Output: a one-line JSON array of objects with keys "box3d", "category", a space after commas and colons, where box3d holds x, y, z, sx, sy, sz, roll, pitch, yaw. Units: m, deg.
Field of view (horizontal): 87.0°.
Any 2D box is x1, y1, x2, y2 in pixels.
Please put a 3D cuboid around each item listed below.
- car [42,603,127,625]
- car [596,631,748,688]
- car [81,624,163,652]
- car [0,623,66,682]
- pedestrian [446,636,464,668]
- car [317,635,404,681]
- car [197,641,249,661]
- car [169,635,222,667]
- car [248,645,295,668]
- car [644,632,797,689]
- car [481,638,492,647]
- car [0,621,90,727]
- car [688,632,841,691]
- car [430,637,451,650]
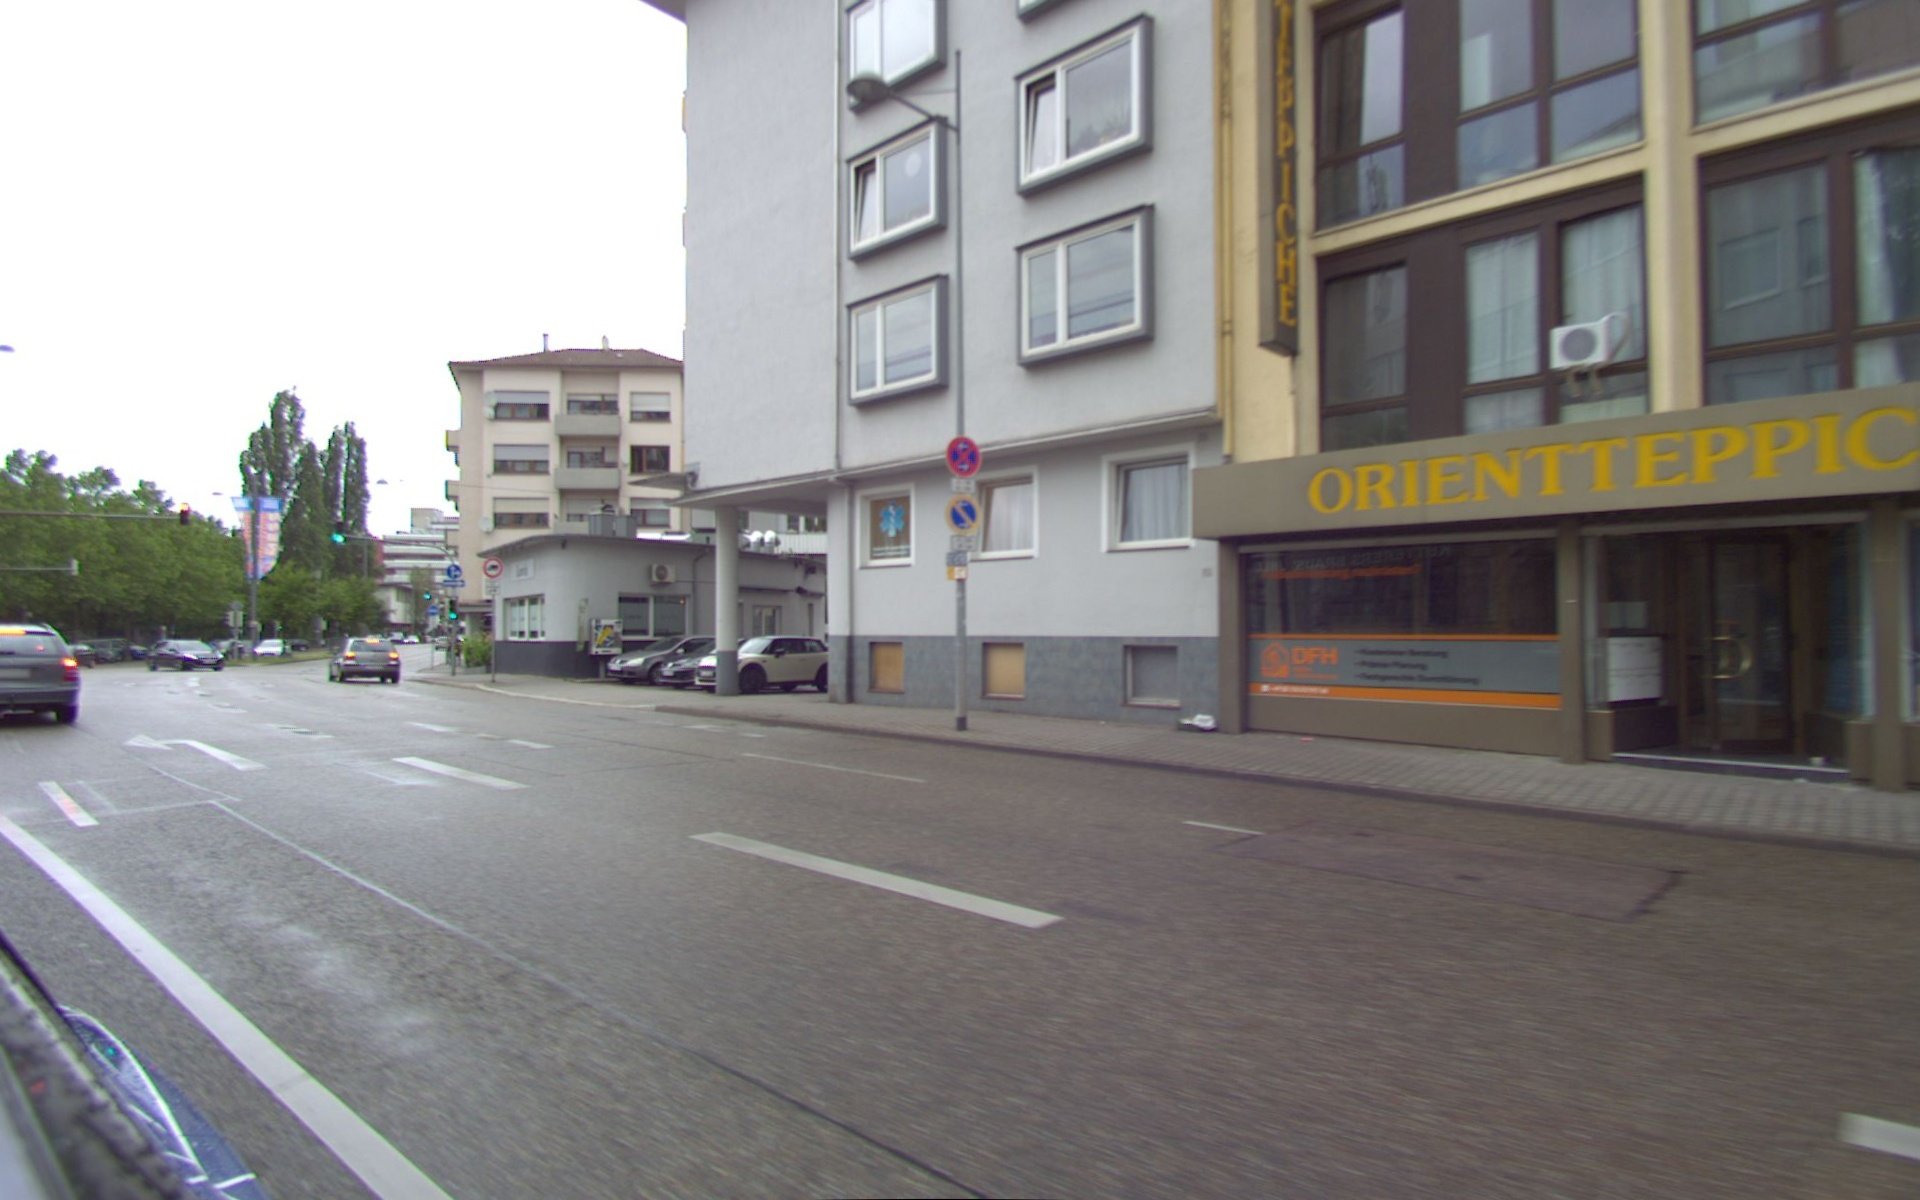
[{"box3d": [-68.861, 1.101, 79.684, 4.673, 1.415, 1.868, -3, -1, -17], "category": "car"}, {"box3d": [-8.200, 1.727, 29.009, 1.798, 1.431, 3.770, 0, -4, 43], "category": "car"}, {"box3d": [-69.369, 3.117, 83.855, 4.768, 1.957, 1.956, -3, -1, -17], "category": "car"}, {"box3d": [-27.372, 1.531, 29.402, 1.732, 1.627, 4.220, 3, -4, -37], "category": "car"}, {"box3d": [-29.194, 3.005, 58.467, 0.767, 1.742, 0.662, -3, -2, -19], "category": "pedestrian"}, {"box3d": [-19.529, 1.900, 32.902, 1.707, 1.377, 4.116, 2, -4, -41], "category": "car"}, {"box3d": [-58.341, 4.044, 80.187, 1.865, 1.500, 4.373, 2, -3, -16], "category": "car"}, {"box3d": [-36.574, 2.403, 48.375, 1.777, 1.445, 4.403, 0, -2, -41], "category": "car"}, {"box3d": [-50.461, 4.132, 74.229, 1.865, 1.588, 4.375, 2, -3, -21], "category": "car"}, {"box3d": [-6.421, 1.657, 27.391, 1.638, 1.431, 3.715, -2, -5, 43], "category": "car"}, {"box3d": [-85.327, 7.698, 182.310, 1.580, 1.441, 3.958, 3, -3, -23], "category": "car"}, {"box3d": [-14.693, 1.041, 15.254, 4.410, 1.451, 1.715, -1, -3, 41], "category": "car"}, {"box3d": [-4.808, 1.564, 25.248, 1.495, 1.348, 3.585, -2, -5, 41], "category": "car"}, {"box3d": [-56.428, 4.718, 109.994, 1.652, 1.402, 4.165, 3, -3, -23], "category": "car"}]
